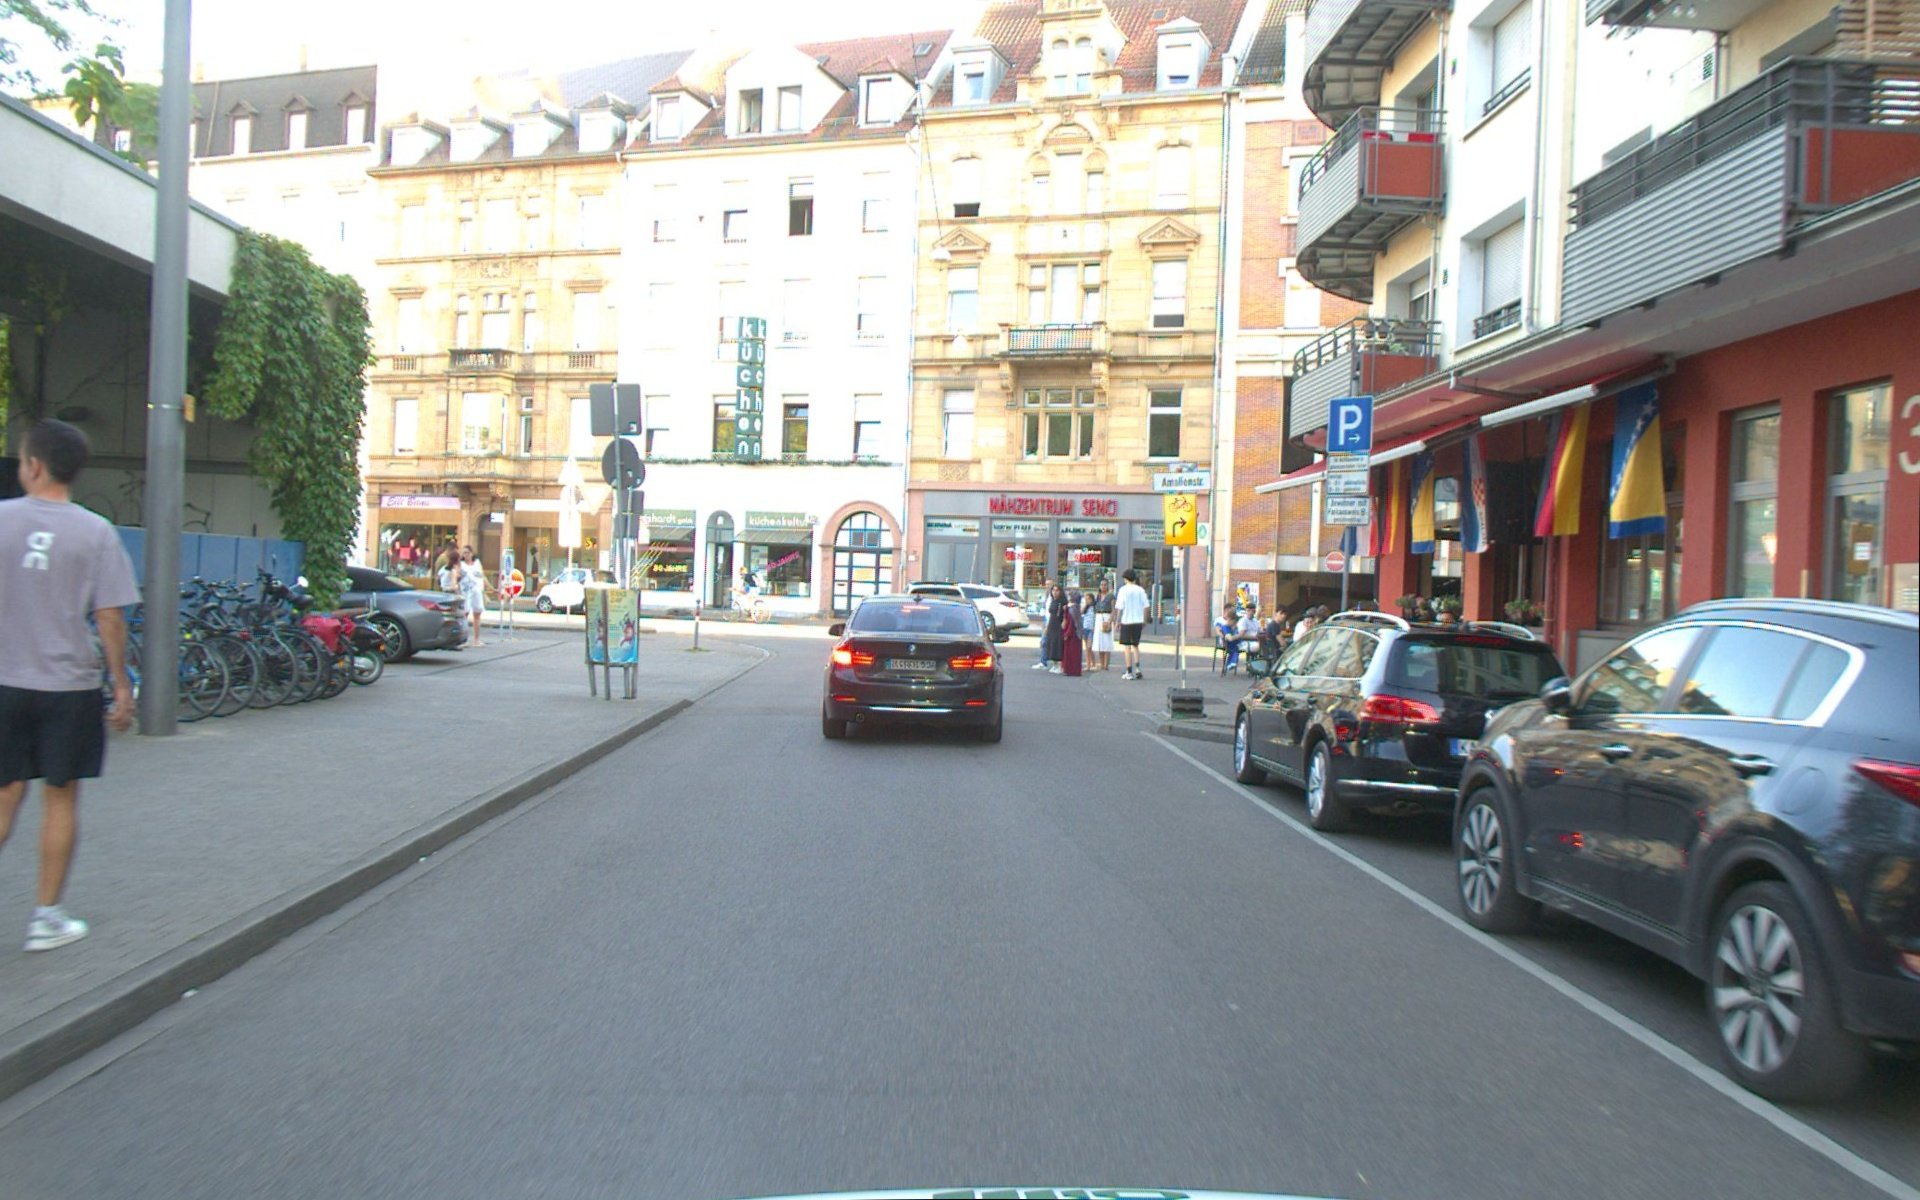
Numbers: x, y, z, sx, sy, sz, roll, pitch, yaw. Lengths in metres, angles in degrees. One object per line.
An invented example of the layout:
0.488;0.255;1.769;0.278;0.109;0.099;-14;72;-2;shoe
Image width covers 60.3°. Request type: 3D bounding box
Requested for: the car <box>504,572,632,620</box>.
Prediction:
-13.344;-0.136;56.310;3.905;1.537;1.800;1;0;21;car

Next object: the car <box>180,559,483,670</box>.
-9.318;0.205;24.821;3.914;1.527;1.887;1;1;-10;car

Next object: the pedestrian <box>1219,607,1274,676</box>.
5.007;0.714;28.923;0.871;1.170;0.619;1;0;5;pedestrian

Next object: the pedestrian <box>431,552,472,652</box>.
-8.618;0.029;28.045;0.490;1.671;0.520;1;0;0;pedestrian

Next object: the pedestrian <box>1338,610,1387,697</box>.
5.813;0.765;23.898;0.415;1.222;0.529;-2;0;-45;pedestrian

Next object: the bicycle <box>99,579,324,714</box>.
-6.864;0.424;15.221;1.760;1.127;0.499;3;0;-7;bicycle

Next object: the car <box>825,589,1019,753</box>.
-0.403;0.643;17.639;1.729;1.399;4.789;2;1;-1;car

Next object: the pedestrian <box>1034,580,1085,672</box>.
1.815;0.471;30.259;0.711;1.637;0.648;3;0;-11;pedestrian

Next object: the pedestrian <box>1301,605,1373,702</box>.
5.132;0.722;22.554;0.841;1.279;0.491;-1;0;-2;pedestrian

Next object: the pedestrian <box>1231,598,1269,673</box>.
5.199;0.628;29.674;0.604;1.306;0.660;1;0;6;pedestrian

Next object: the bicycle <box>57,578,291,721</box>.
-6.860;0.426;14.472;1.757;1.127;0.500;3;0;0;bicycle

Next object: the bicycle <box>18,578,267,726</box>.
-6.837;0.428;13.879;1.758;1.127;0.500;3;0;-3;bicycle

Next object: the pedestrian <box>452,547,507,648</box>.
-8.569;-0.051;29.493;0.661;1.776;0.654;1;1;38;pedestrian

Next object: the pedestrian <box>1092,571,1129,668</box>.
2.823;0.356;31.002;0.653;1.776;0.607;1;0;4;pedestrian

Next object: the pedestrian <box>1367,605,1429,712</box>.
5.473;0.720;20.684;0.672;1.309;0.609;0;0;7;pedestrian

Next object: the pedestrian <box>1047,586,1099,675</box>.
2.023;0.540;29.630;0.722;1.539;0.648;3;0;-11;pedestrian

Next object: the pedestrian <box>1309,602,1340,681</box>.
6.109;0.687;27.720;0.479;1.299;0.522;1;0;11;pedestrian

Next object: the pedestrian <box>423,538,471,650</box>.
-8.897;-0.112;28.683;0.571;1.915;0.634;1;0;4;pedestrian

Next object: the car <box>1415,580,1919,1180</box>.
3.541;0.822;6.910;1.730;1.670;4.789;4;1;-2;car

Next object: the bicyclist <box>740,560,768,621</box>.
-6.207;-0.290;49.771;0.605;1.787;0.525;2;0;17;bicyclist

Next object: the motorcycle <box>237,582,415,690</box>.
-7.067;0.414;18.472;1.732;1.120;0.560;3;0;-37;motorcycle

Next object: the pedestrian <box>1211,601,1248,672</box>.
5.026;0.673;30.879;0.604;1.276;0.736;1;0;4;pedestrian

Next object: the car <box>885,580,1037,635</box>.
0.033;0.223;50.905;4.262;1.589;1.869;1;0;21;car

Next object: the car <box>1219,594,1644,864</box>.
3.345;0.807;12.797;1.729;1.528;4.789;4;1;-1;car

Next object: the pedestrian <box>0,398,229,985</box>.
-3.280;0.284;5.984;0.729;1.926;1.050;3;0;-1;pedestrian

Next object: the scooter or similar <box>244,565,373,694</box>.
-6.912;0.315;17.581;1.186;1.296;0.420;3;0;-18;scooter or similar

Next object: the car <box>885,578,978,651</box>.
-0.582;0.286;36.893;1.838;1.498;4.001;1;1;2;car

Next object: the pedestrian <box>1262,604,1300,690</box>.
5.053;0.735;26.073;0.481;1.326;0.418;-1;0;-2;pedestrian

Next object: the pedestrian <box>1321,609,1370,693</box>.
5.737;0.755;24.593;0.415;1.222;0.560;-2;0;-43;pedestrian

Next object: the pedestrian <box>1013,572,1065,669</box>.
1.497;0.378;31.176;0.876;1.755;0.608;3;2;4;pedestrian

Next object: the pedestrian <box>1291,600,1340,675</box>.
6.322;0.664;29.432;0.606;1.301;0.698;1;1;35;pedestrian

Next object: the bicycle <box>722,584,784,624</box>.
-6.218;0.113;49.759;1.757;1.127;0.538;2;0;18;bicycle

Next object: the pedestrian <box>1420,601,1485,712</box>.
6.262;0.708;21.061;0.594;1.371;0.696;0;0;-3;pedestrian

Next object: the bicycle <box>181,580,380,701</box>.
-6.927;0.406;16.894;1.758;1.127;0.500;3;0;-2;bicycle

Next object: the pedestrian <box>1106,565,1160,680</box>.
2.960;0.379;28.336;0.664;1.910;0.699;2;0;-13;pedestrian

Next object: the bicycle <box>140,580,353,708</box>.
-6.849;0.418;15.926;1.759;1.127;0.500;3;0;-5;bicycle

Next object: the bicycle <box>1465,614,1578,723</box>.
6.341;0.761;18.772;0.525;1.174;1.741;0;-1;-6;bicycle

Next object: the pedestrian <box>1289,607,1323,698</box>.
4.990;0.753;23.855;0.337;1.279;0.359;-1;0;34;pedestrian

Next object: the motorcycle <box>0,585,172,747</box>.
-6.907;0.466;12.442;1.764;1.082;0.764;3;0;24;motorcycle

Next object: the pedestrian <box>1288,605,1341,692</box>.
5.441;0.730;25.381;0.622;1.298;0.504;-2;0;-39;pedestrian

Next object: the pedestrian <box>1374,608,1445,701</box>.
6.261;0.754;23.077;0.763;1.244;0.714;-1;0;-2;pedestrian

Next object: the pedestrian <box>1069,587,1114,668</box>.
2.492;0.521;31.441;0.798;1.500;0.607;1;0;2;pedestrian
